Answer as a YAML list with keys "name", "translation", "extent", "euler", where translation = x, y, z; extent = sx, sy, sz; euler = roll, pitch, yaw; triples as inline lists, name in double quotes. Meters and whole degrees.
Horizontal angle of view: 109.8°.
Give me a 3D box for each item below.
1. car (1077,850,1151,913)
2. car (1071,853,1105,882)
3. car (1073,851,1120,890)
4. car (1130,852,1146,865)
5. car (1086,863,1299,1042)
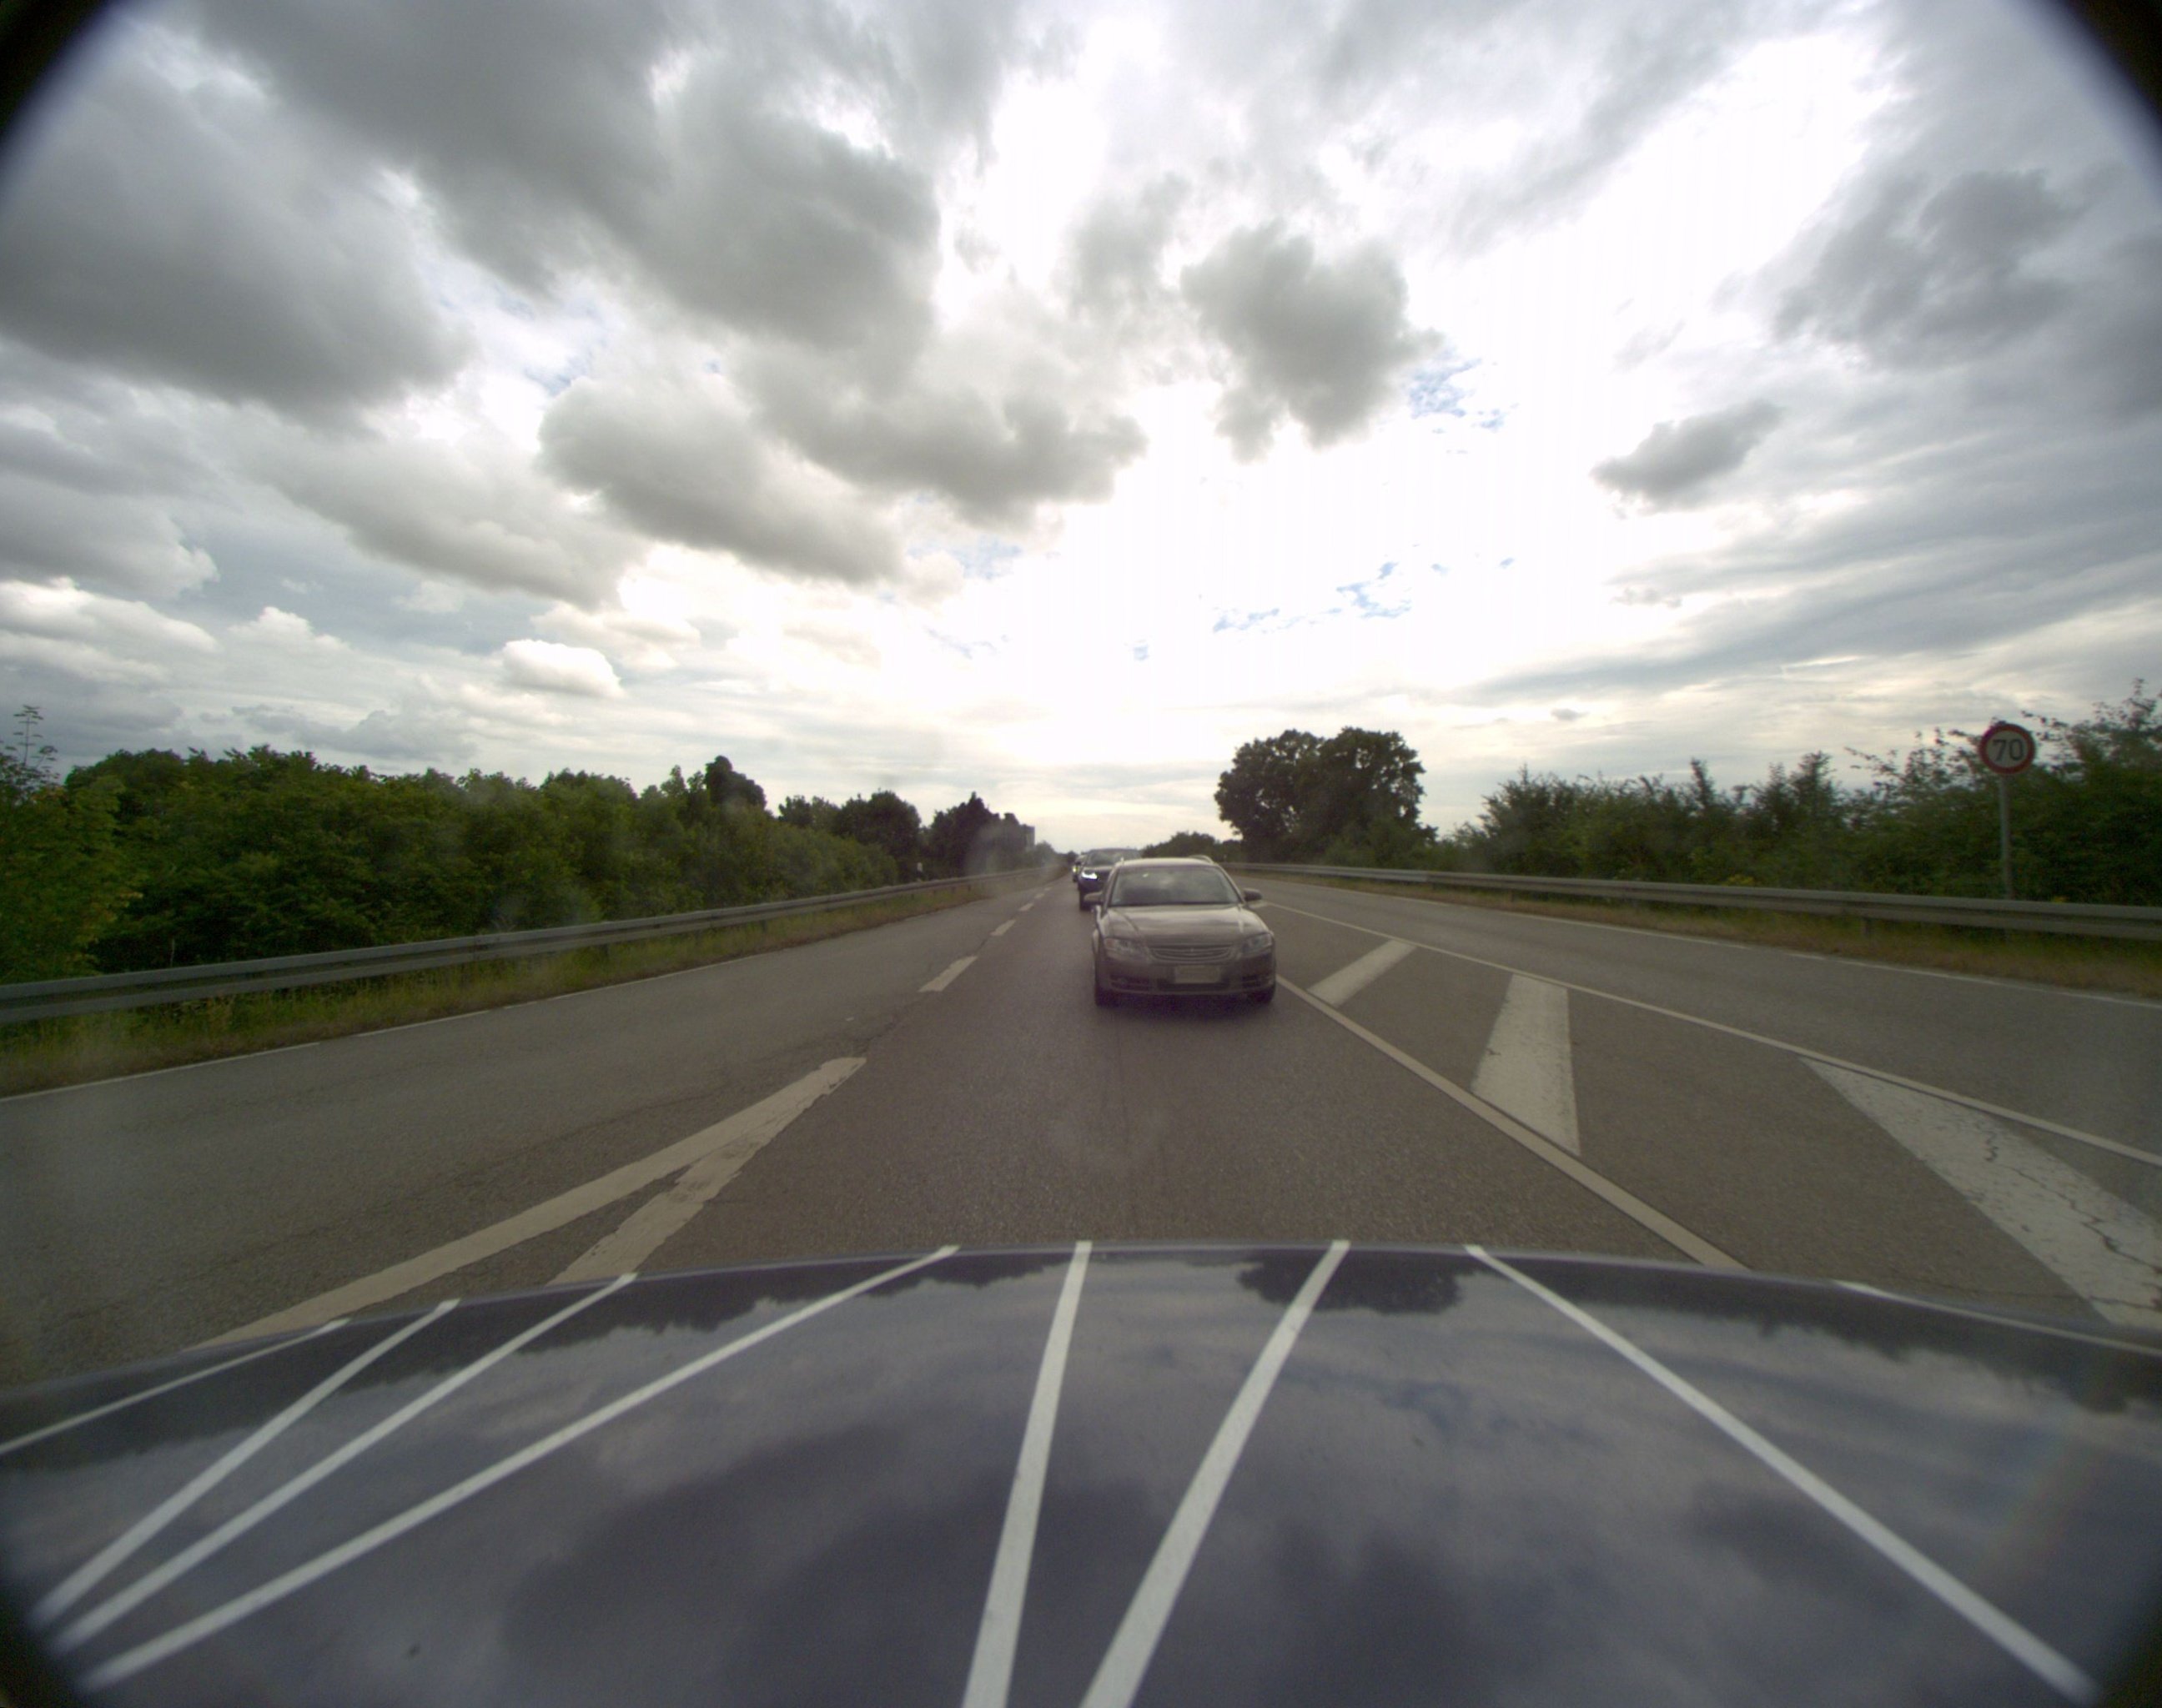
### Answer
- name: "car"
  translation: [0.855, 0.697, 21.061]
  extent: [1.834, 1.537, 4.035]
  euler: [-1, 0, 1]
- name: "car"
  translation: [0.425, 0.722, 43.700]
  extent: [1.834, 1.537, 4.035]
  euler: [-1, 0, 1]
- name: "car"
  translation: [0.654, 0.656, 32.857]
  extent: [1.834, 1.537, 4.035]
  euler: [-1, 0, 1]
- name: "car"
  translation: [6.760, 0.529, 89.582]
  extent: [1.824, 1.366, 4.612]
  euler: [-1, 1, 5]
- name: "car"
  translation: [0.978, 0.869, 8.502]
  extent: [1.784, 1.442, 4.035]
  euler: [-1, 0, 1]
